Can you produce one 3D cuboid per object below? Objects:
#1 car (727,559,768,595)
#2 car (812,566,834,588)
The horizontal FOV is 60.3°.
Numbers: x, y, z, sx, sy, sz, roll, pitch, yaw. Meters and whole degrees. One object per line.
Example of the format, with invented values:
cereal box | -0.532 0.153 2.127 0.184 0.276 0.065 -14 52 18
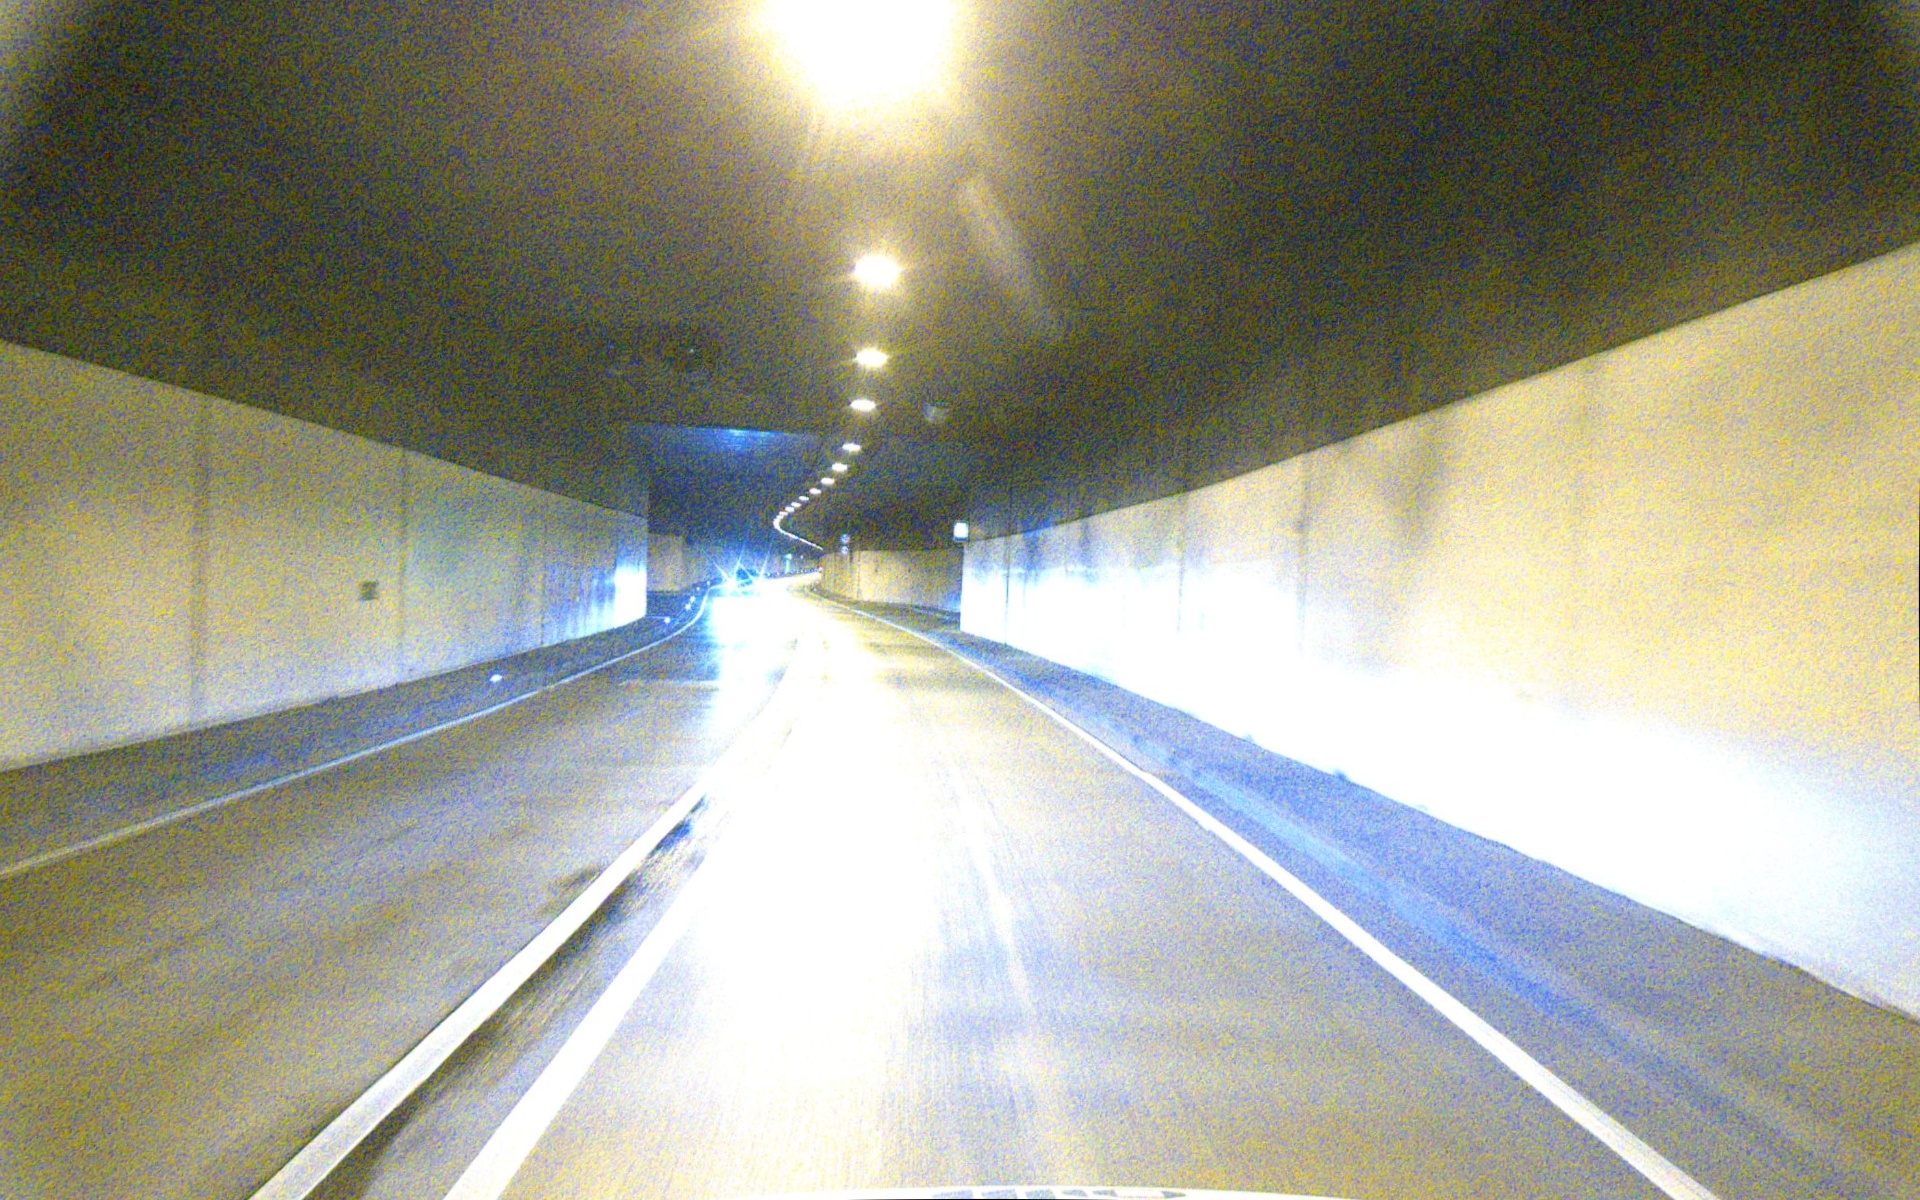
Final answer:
car | -11.194 -1.200 87.302 1.955 1.624 3.994 4 -2 -6
car | -11.178 -1.858 134.722 1.565 1.481 3.616 4 -2 -6
